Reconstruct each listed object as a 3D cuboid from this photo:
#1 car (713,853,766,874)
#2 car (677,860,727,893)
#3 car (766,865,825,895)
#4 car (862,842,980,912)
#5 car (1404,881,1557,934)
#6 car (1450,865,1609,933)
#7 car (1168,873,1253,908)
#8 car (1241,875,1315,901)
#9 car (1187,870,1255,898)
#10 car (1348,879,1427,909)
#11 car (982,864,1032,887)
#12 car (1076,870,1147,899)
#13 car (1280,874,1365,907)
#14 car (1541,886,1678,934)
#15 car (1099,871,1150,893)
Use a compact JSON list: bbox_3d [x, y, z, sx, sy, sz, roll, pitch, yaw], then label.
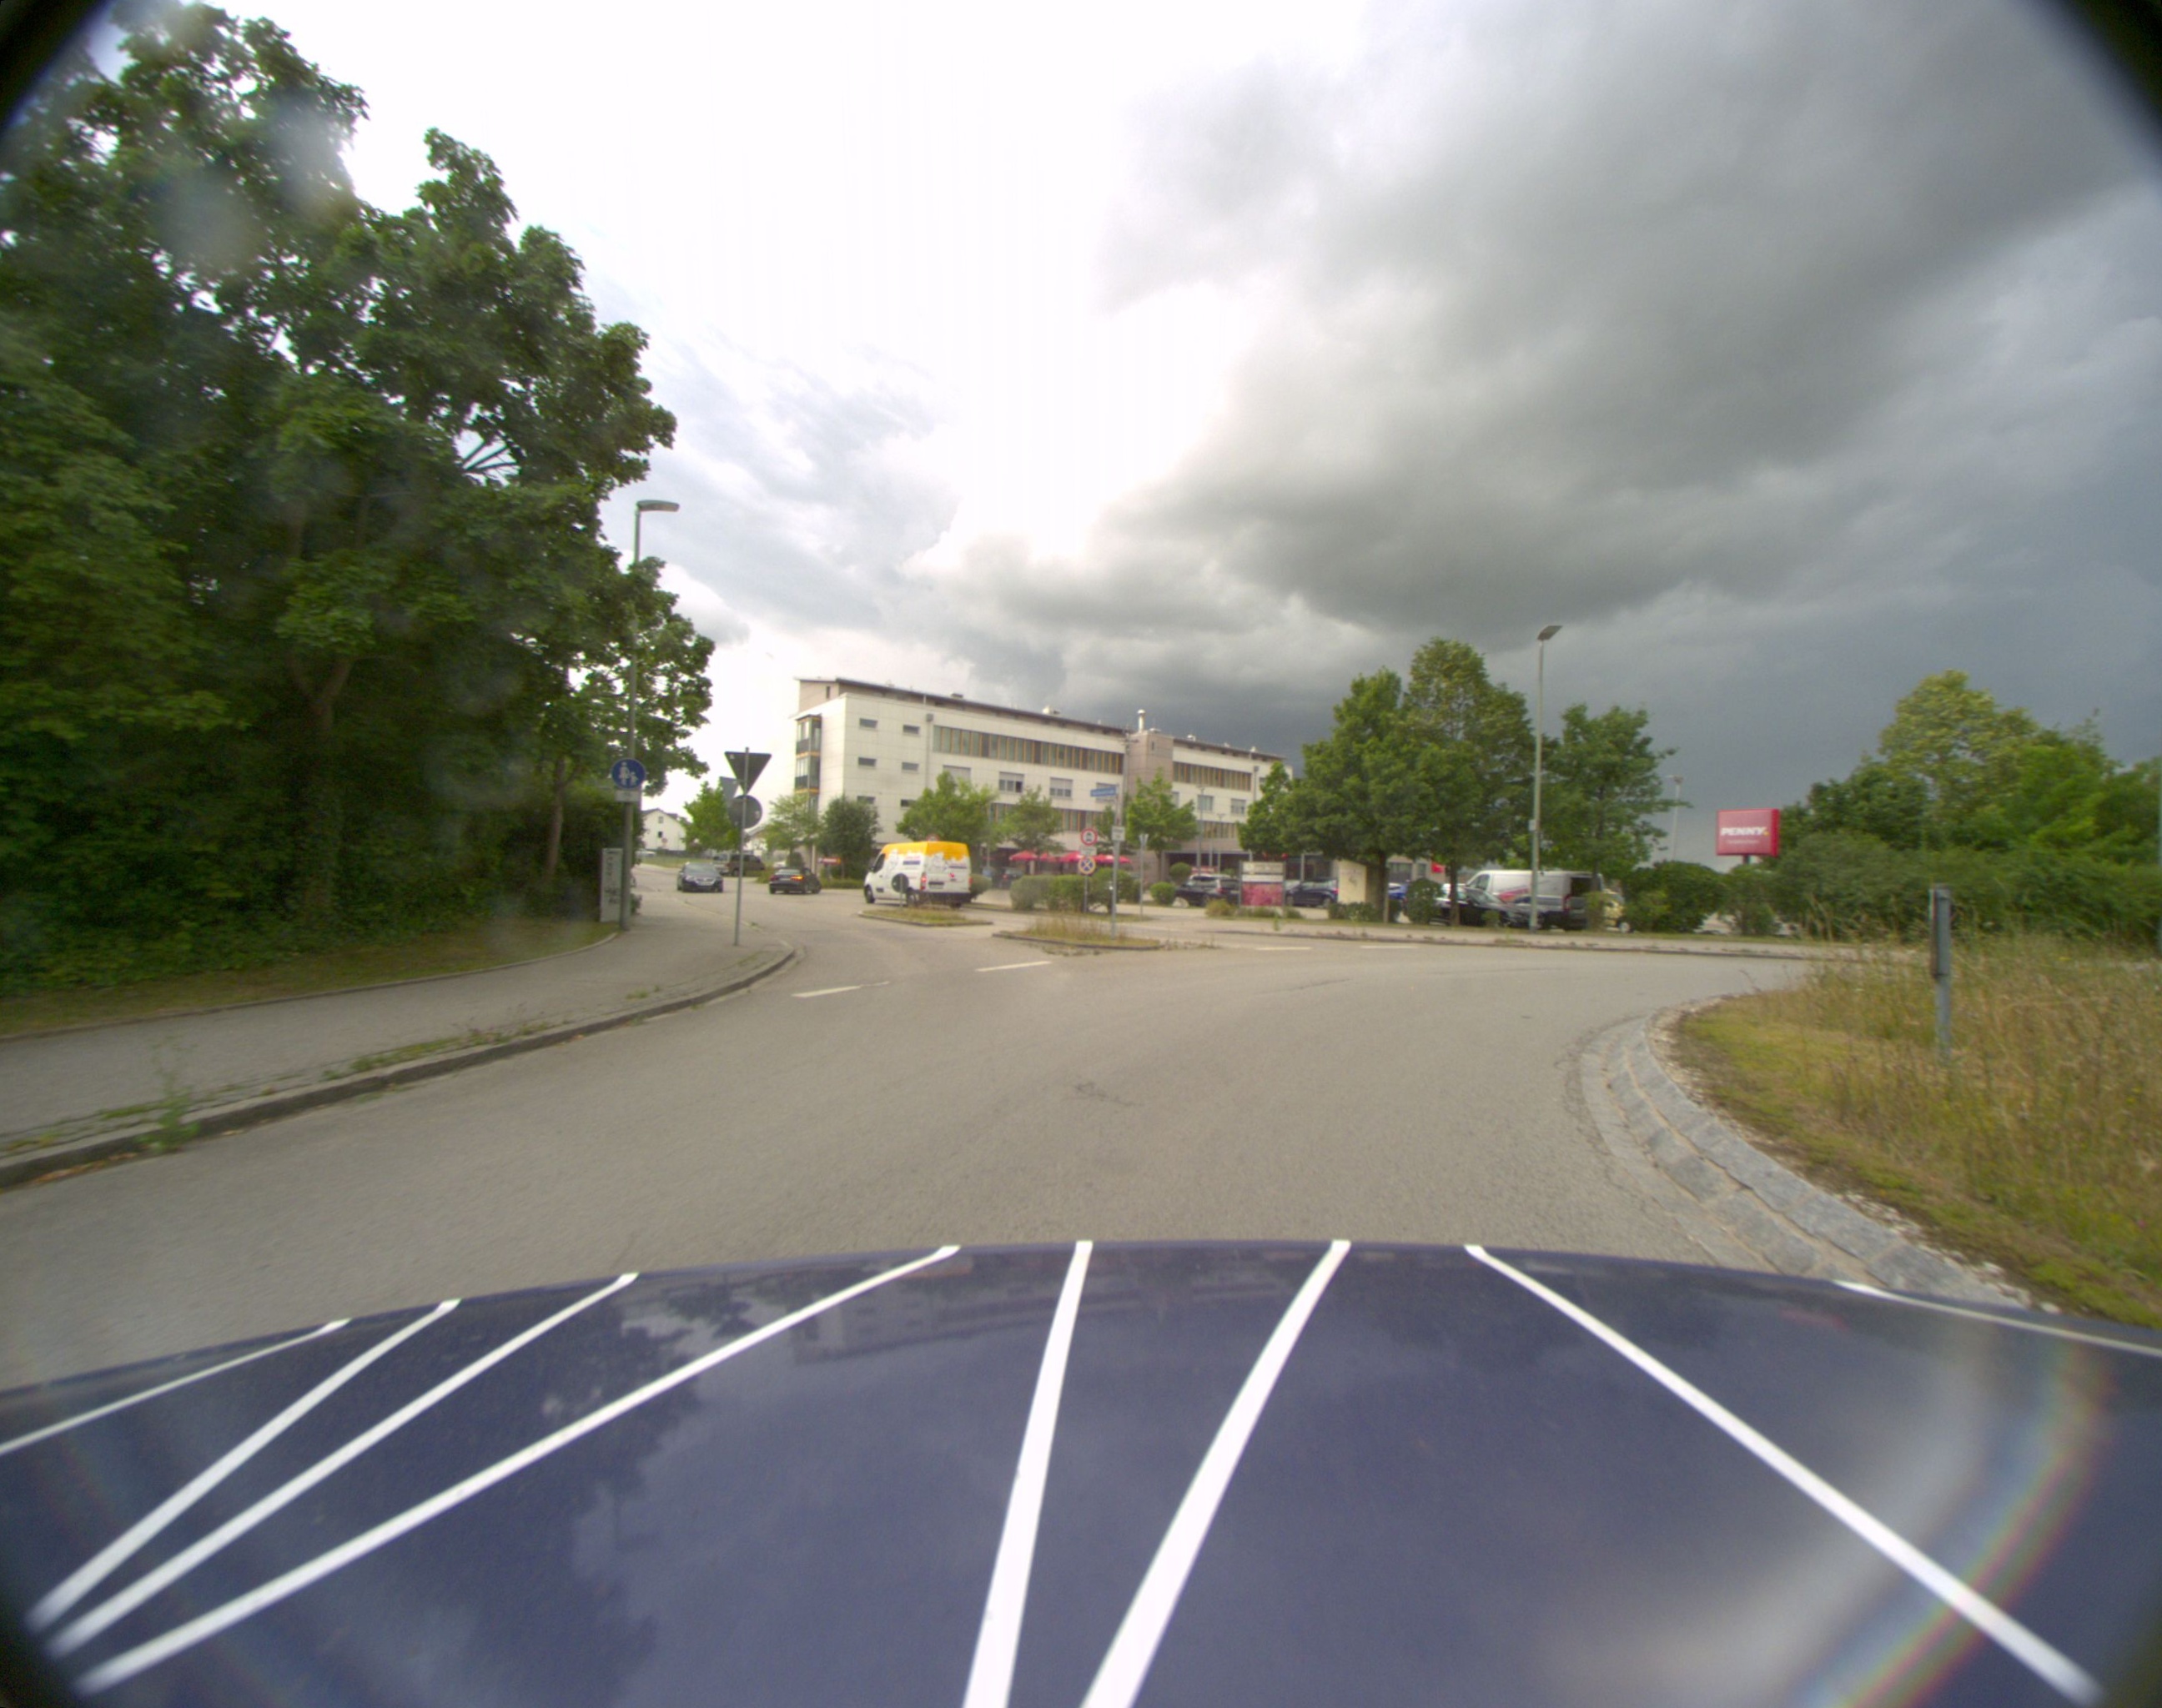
[{"bbox_3d":[-28.472,0.787,63.491,1.651,1.722,4.007,0,-1,20],"label":"car"},{"bbox_3d":[-18.787,1.093,37.603,1.804,1.455,3.990,2,-1,-32],"label":"car"},{"bbox_3d":[-14.359,1.276,38.401,1.800,1.323,3.998,2,-1,-6],"label":"car"},{"bbox_3d":[-6.325,0.814,29.434,2.174,2.437,5.426,3,-1,-39],"label":"car"},{"bbox_3d":[13.552,1.773,26.055,1.765,1.484,4.407,2,-1,-26],"label":"car"},{"bbox_3d":[15.955,1.545,27.274,2.160,2.145,4.407,2,-1,-26],"label":"car"},{"bbox_3d":[5.926,1.654,35.274,1.824,1.448,3.991,2,-1,-28],"label":"car"},{"bbox_3d":[11.991,2.077,46.421,1.784,1.529,4.077,3,-4,-40],"label":"car"},{"bbox_3d":[7.835,1.714,42.852,1.877,1.501,4.081,2,-3,-21],"label":"car"},{"bbox_3d":[16.589,2.153,41.315,1.662,1.495,3.784,2,-1,-28],"label":"car"},{"bbox_3d":[-5.116,1.448,51.835,1.825,1.448,3.990,2,-1,-31],"label":"car"},{"bbox_3d":[1.552,1.579,39.754,1.825,1.448,3.991,2,-2,-31],"label":"car"},{"bbox_3d":[12.279,1.837,38.830,1.824,1.533,3.991,2,-1,-28],"label":"car"},{"bbox_3d":[20.183,2.096,29.192,1.765,1.547,3.930,2,-1,-26],"label":"car"},{"bbox_3d":[3.125,2.006,55.325,1.825,1.448,3.990,2,-1,-31],"label":"car"}]
